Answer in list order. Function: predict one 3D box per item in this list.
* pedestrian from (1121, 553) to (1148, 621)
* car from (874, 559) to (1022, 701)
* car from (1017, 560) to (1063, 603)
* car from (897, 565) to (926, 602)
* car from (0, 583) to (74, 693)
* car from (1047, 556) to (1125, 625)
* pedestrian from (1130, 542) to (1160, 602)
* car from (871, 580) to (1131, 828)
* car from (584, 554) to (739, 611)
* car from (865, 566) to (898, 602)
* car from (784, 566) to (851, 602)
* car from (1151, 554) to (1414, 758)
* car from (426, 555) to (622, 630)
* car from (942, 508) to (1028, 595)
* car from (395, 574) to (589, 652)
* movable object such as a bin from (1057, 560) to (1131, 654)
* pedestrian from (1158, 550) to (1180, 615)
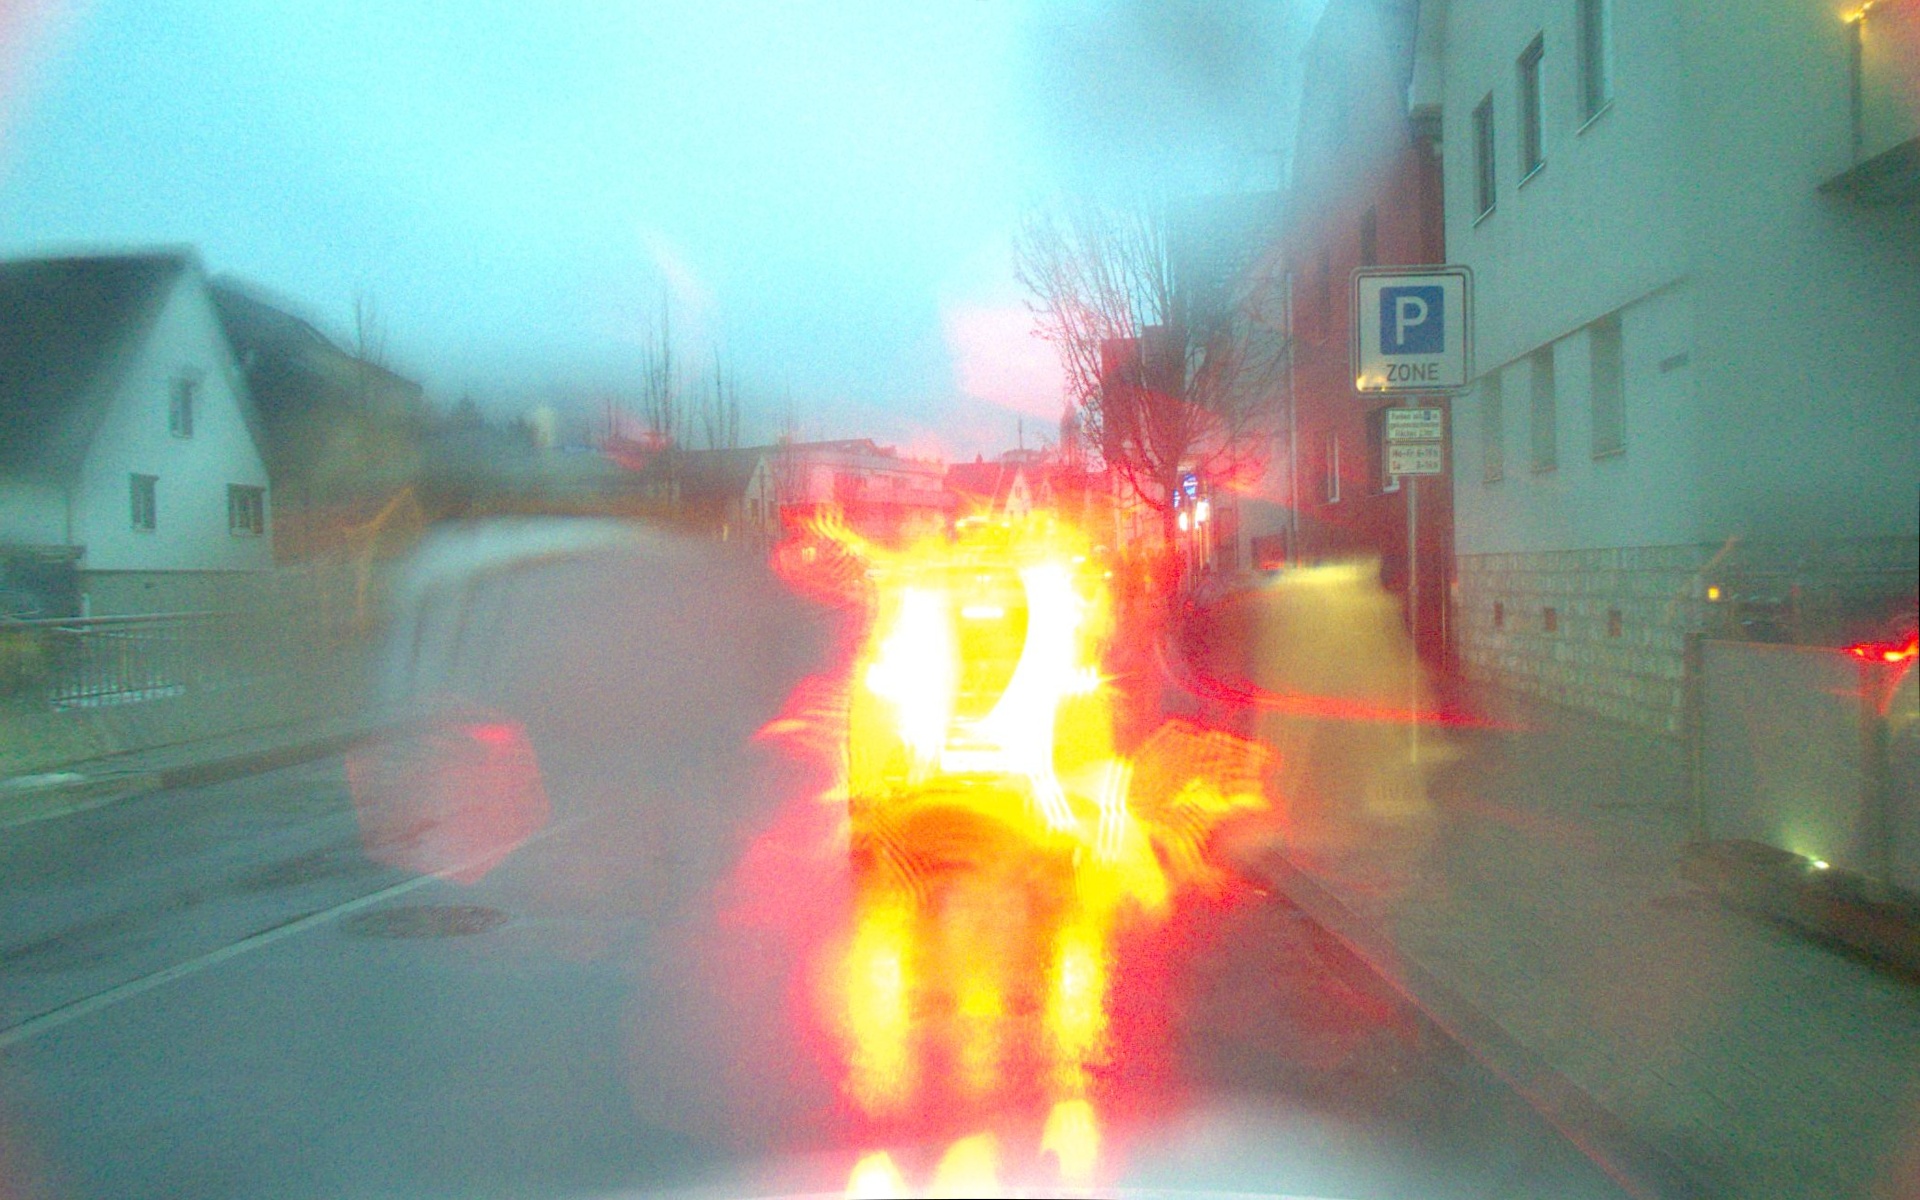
[{"bbox_3d":[4.525,-0.330,42.976,0.561,1.729,0.653,-3,0,2],"label":"pedestrian"},{"bbox_3d":[-0.135,0.305,21.178,1.730,1.656,3.586,0,1,0],"label":"car"},{"bbox_3d":[3.643,-0.842,76.193,1.956,1.897,4.083,-1,1,1],"label":"car"},{"bbox_3d":[-3.124,-1.044,107.192,1.881,2.254,3.974,0,-1,-1],"label":"car"},{"bbox_3d":[-14.172,0.586,22.282,1.765,1.508,4.574,-4,1,3],"label":"car"},{"bbox_3d":[3.341,-0.280,44.562,1.700,1.721,4.386,-2,1,0],"label":"car"},{"bbox_3d":[5.510,-0.841,49.115,0.697,1.744,1.035,-2,2,14],"label":"pedestrian"},{"bbox_3d":[0.255,0.596,11.282,1.531,1.437,3.018,0,1,0],"label":"car"},{"bbox_3d":[-9.354,-0.556,52.094,4.532,1.696,1.999,-1,1,-2],"label":"car"},{"bbox_3d":[-4.715,-0.932,99.302,1.881,2.063,3.974,0,-1,-1],"label":"car"},{"bbox_3d":[-9.136,-0.992,105.959,4.312,2.204,1.986,-1,-2,45],"label":"car"},{"bbox_3d":[2.807,0.390,15.255,1.692,1.489,4.201,-4,2,3],"label":"car"},{"bbox_3d":[-9.403,-0.157,35.831,3.713,1.549,1.716,-1,0,7],"label":"car"},{"bbox_3d":[0.891,-1.805,64.697,3.126,3.084,6.303,0,-1,-2],"label":"car"},{"bbox_3d":[-9.329,0.244,33.131,3.374,1.396,1.601,-2,1,-1],"label":"car"},{"bbox_3d":[2.263,0.101,28.166,1.105,1.445,1.418,-4,2,3],"label":"movable object such as a bin"},{"bbox_3d":[5.457,-0.453,43.233,0.517,1.682,0.954,0,-1,10],"label":"pedestrian"}]
